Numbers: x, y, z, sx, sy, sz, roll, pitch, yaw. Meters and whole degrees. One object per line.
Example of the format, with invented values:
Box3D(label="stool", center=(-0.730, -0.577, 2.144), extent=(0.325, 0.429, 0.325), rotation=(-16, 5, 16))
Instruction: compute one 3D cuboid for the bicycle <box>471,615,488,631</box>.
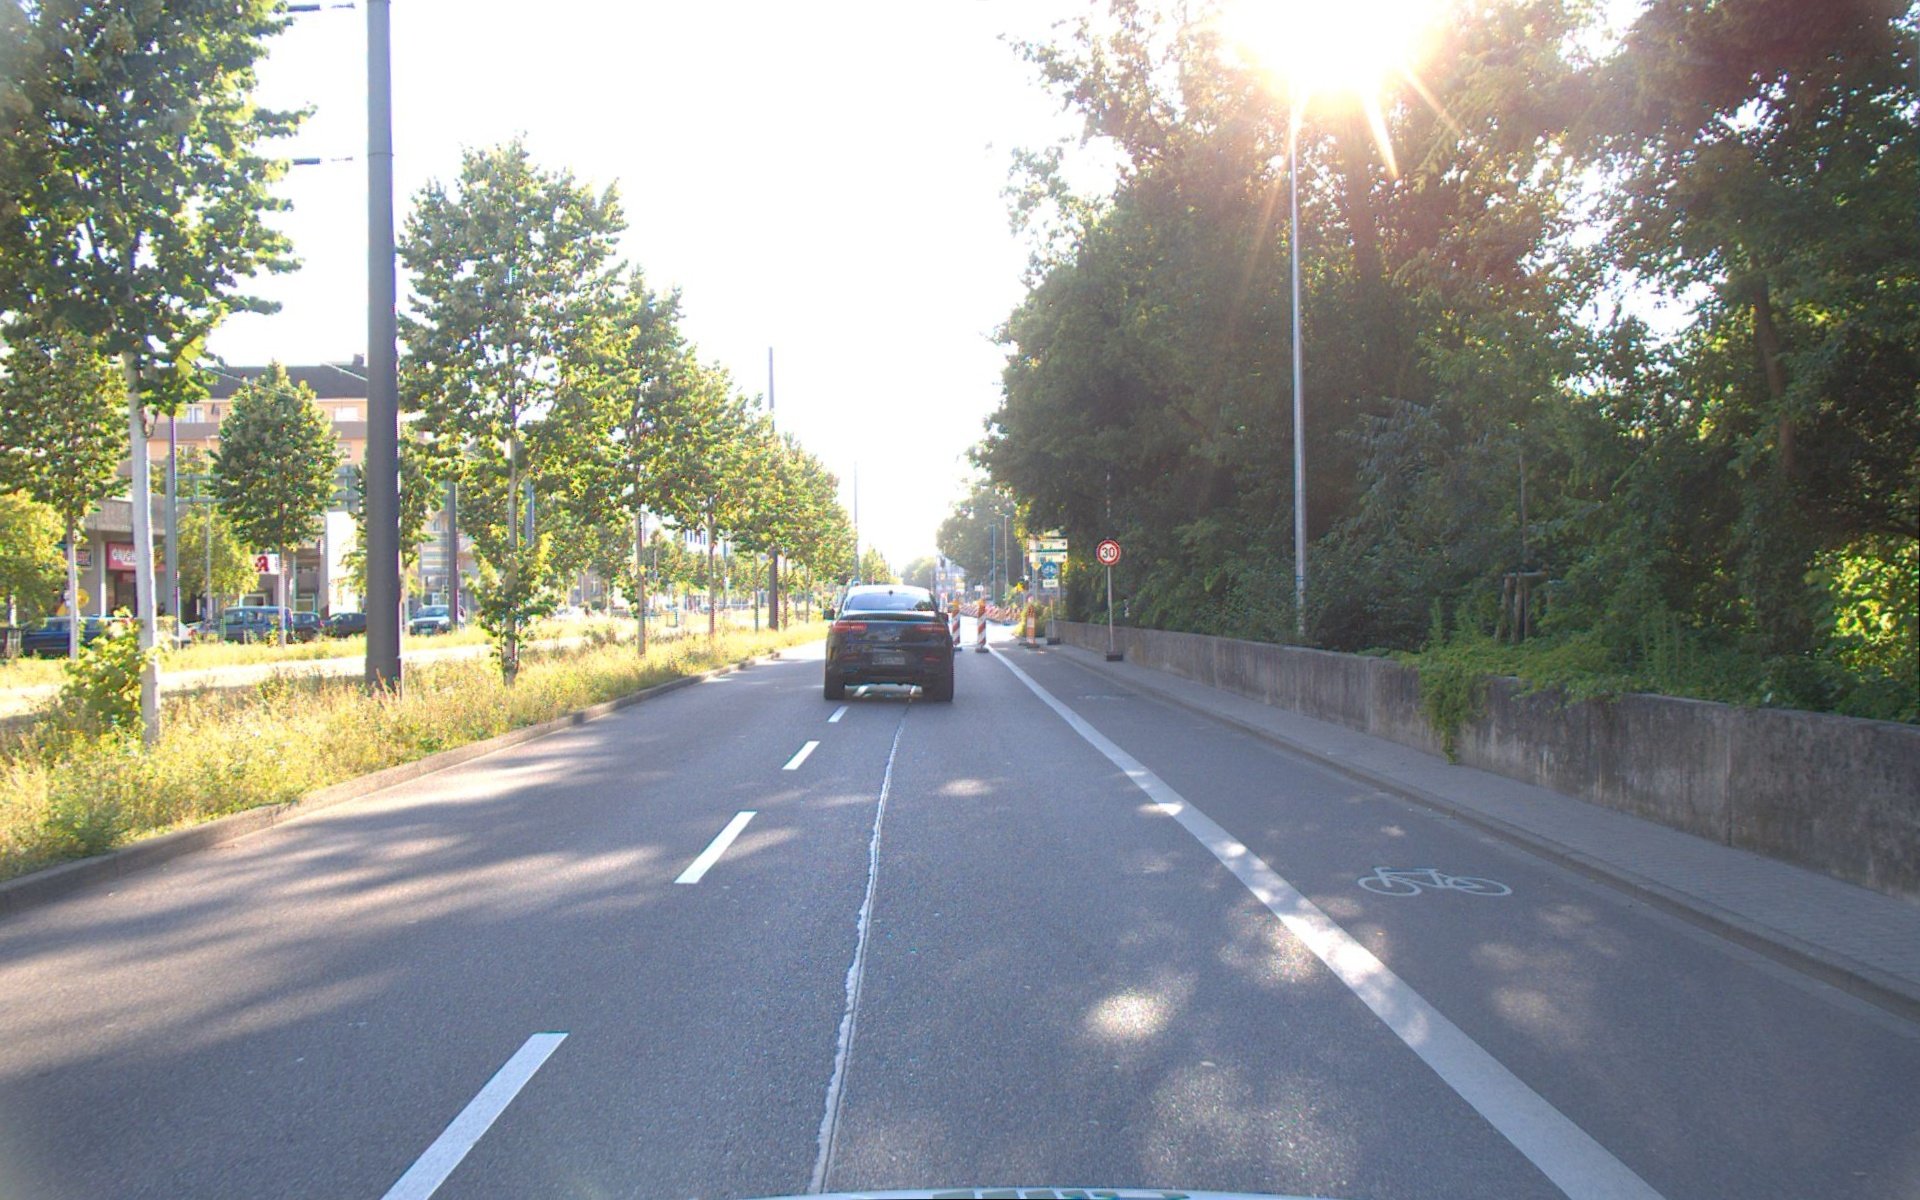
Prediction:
Box3D(label="bicycle", center=(-29.939, 1.419, 103.086), extent=(0.594, 0.980, 1.716), rotation=(1, 0, -3))

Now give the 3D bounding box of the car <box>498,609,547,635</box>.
Box3D(label="car", center=(-26.217, 1.308, 99.266), extent=(1.847, 1.541, 4.000), rotation=(0, 0, 1))

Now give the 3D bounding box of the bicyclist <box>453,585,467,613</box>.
Box3D(label="bicyclist", center=(-28.790, -0.045, 95.222), extent=(0.540, 1.571, 0.682), rotation=(1, 0, 0))

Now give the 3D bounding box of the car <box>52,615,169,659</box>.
Box3D(label="car", center=(-31.706, 1.384, 61.800), extent=(3.594, 1.550, 1.596), rotation=(2, -1, -42))

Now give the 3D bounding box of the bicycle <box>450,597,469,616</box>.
Box3D(label="bicycle", center=(-28.792, 0.370, 95.154), extent=(0.543, 1.058, 1.791), rotation=(1, 0, 0))

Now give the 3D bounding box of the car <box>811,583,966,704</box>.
Box3D(label="car", center=(-1.216, 0.629, 26.189), extent=(1.957, 1.765, 3.990), rotation=(0, 0, -10))

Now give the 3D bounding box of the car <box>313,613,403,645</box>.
Box3D(label="car", center=(-31.162, 1.470, 85.689), extent=(3.967, 1.590, 1.969), rotation=(1, 0, -43))

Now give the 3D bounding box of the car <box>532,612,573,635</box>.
Box3D(label="car", center=(-28.484, 1.633, 115.713), extent=(1.847, 1.541, 4.000), rotation=(0, 0, 1))

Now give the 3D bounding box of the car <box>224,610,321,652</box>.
Box3D(label="car", center=(-31.347, 1.382, 75.463), extent=(3.725, 1.861, 1.798), rotation=(1, 0, -41))

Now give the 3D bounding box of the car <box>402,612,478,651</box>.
Box3D(label="car", center=(-24.220, 1.443, 77.224), extent=(1.847, 1.718, 5.089), rotation=(0, 0, 1))

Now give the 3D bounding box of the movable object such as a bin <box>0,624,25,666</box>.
Box3D(label="movable object such as a bin", center=(-30.689, 1.441, 53.013), extent=(0.839, 1.303, 0.940), rotation=(-1, 0, 13))

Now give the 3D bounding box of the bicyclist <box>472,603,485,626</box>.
Box3D(label="bicyclist", center=(-29.915, 0.894, 102.797), extent=(0.580, 1.379, 0.759), rotation=(1, 0, -4))

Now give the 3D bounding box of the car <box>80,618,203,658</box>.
Box3D(label="car", center=(-31.954, 1.455, 64.650), extent=(1.754, 1.478, 3.978), rotation=(0, 0, 41))

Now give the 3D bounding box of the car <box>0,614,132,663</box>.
Box3D(label="car", center=(-31.636, 1.357, 58.299), extent=(4.061, 1.629, 1.723), rotation=(2, 0, -42))
